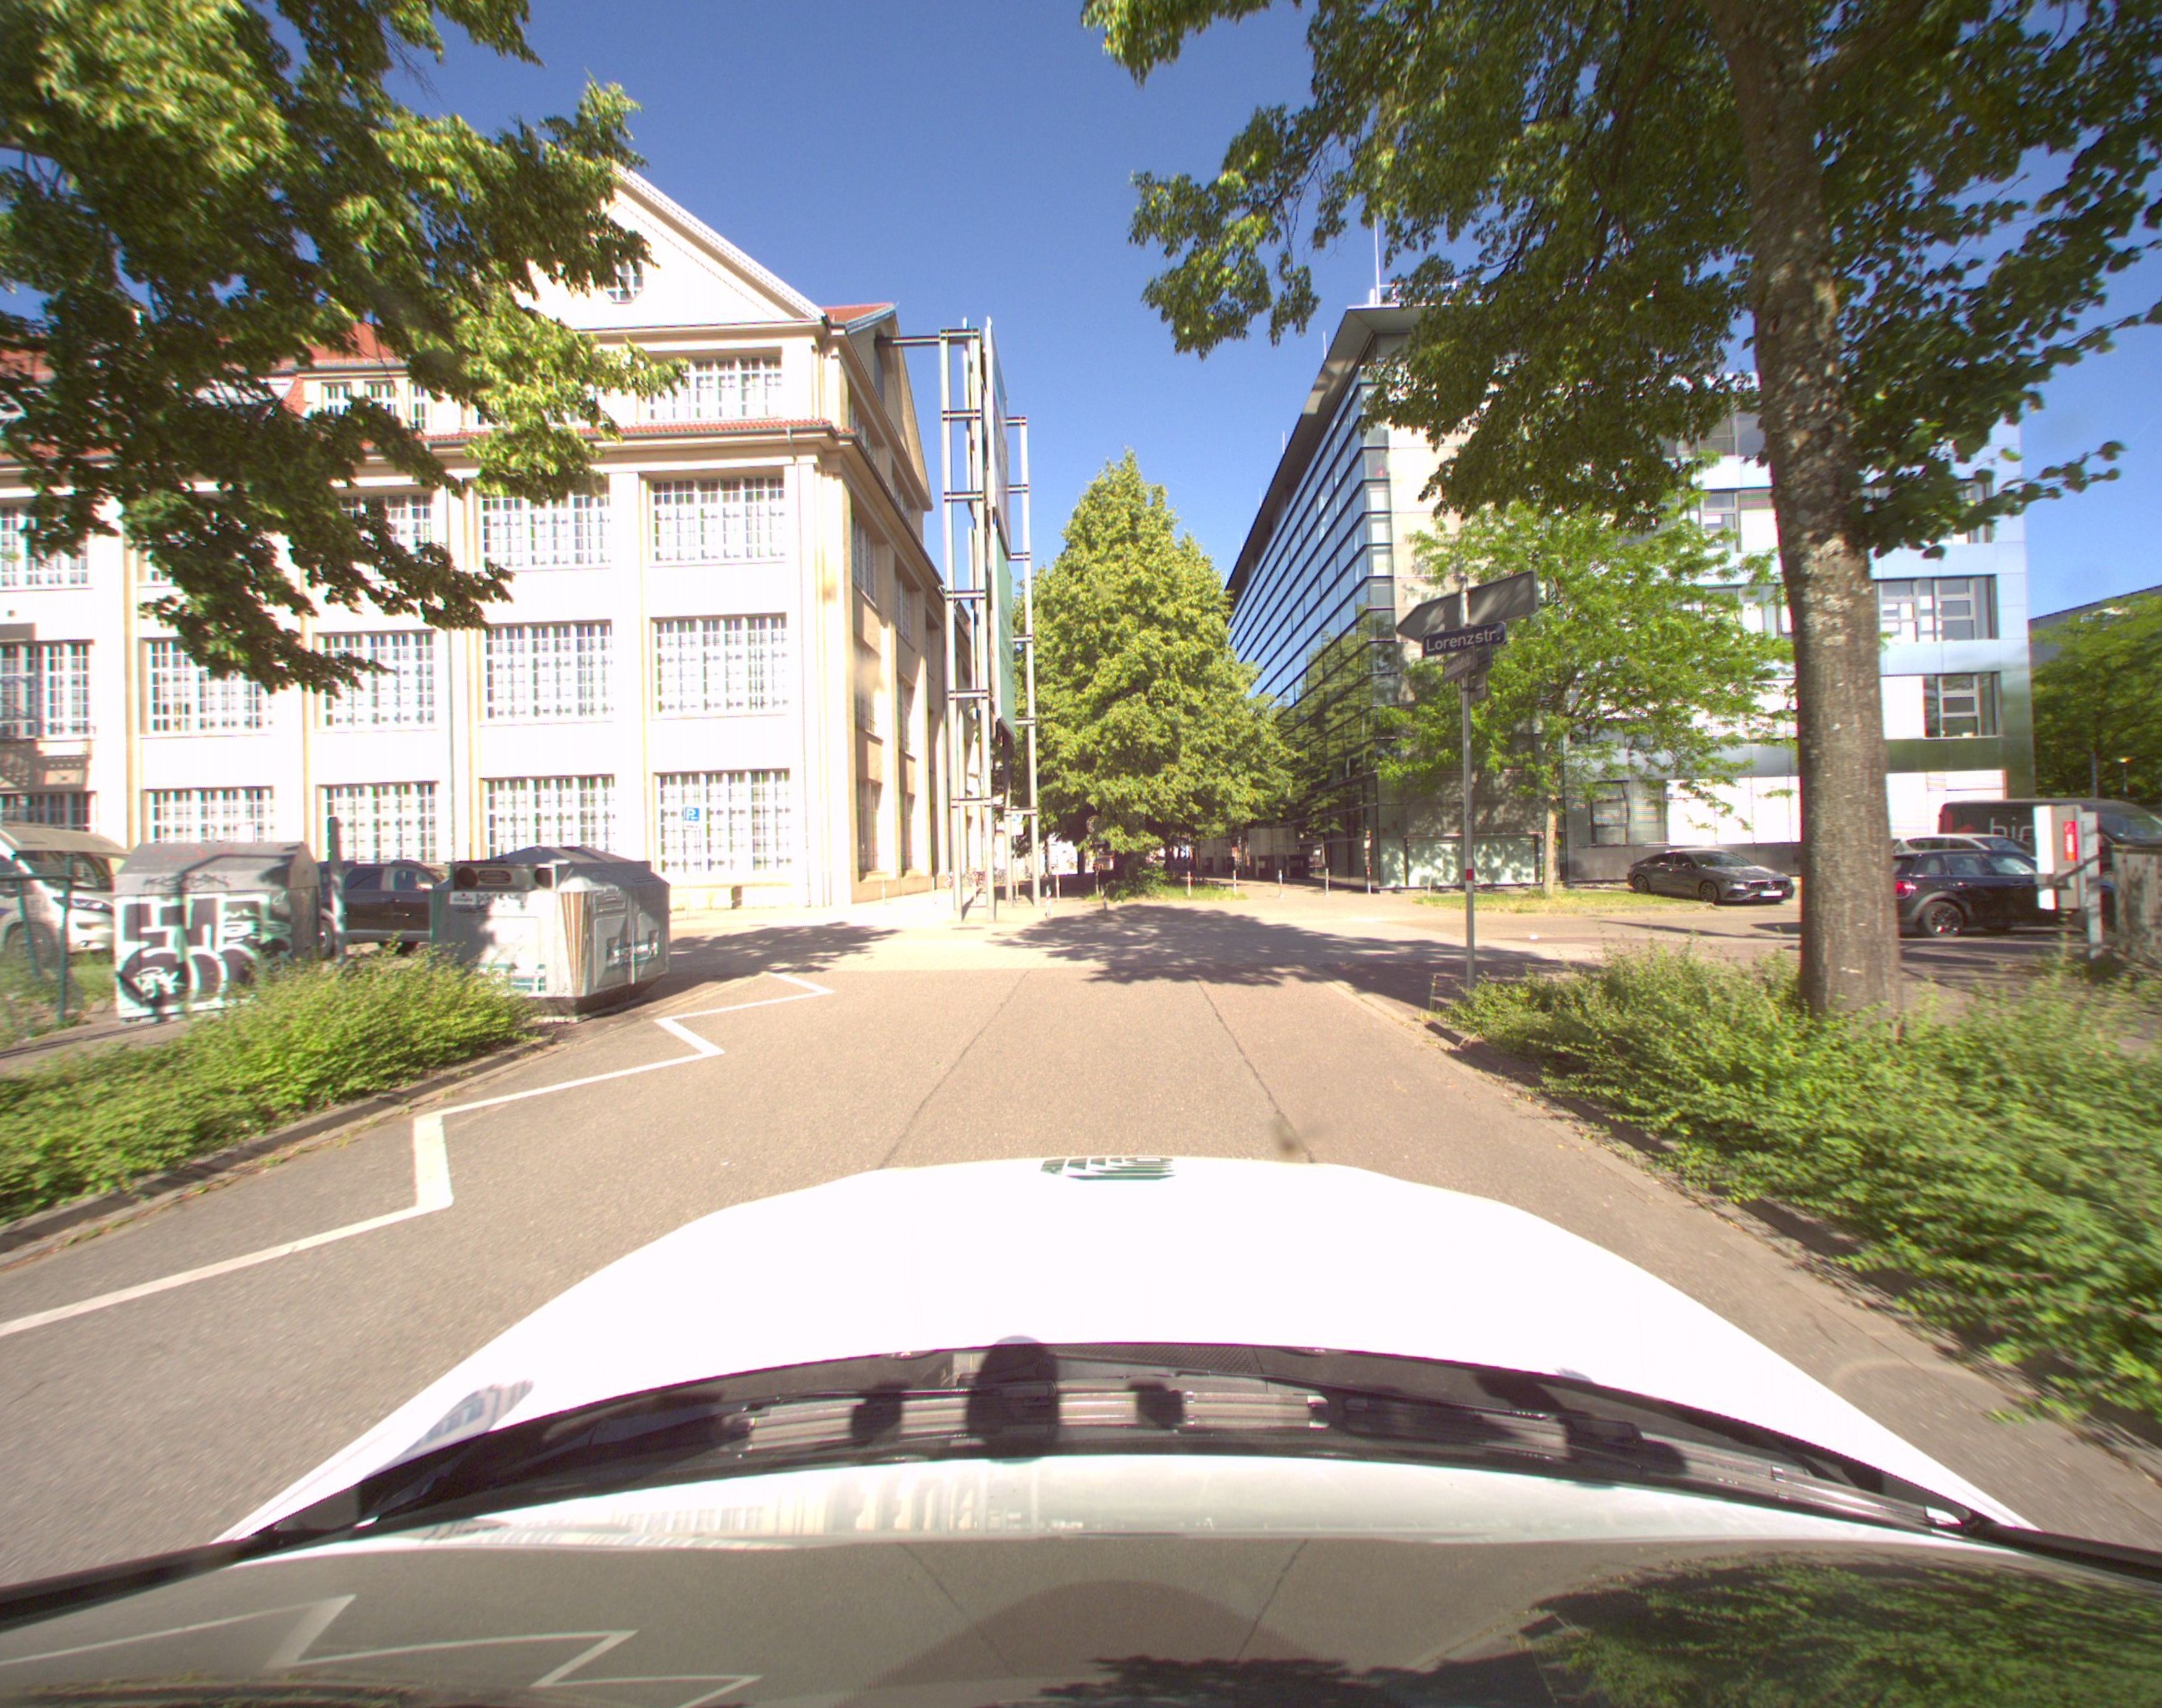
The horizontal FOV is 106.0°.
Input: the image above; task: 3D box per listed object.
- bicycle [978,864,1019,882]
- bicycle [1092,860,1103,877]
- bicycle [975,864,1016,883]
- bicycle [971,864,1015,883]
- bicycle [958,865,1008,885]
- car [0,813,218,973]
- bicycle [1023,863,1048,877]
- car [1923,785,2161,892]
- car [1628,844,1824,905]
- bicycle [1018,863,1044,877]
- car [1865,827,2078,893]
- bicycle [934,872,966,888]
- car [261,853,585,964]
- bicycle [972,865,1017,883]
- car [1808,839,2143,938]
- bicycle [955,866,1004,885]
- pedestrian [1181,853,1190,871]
[{"bbox_3d":[-5.705,1.332,56.283,2.725,1.150,0.718,-1,0,-3],"label":"bicycle"},{"bbox_3d":[1.248,1.079,60.832,0.618,1.197,2.129,-2,0,-3],"label":"bicycle"},{"bbox_3d":[-5.817,1.321,55.496,2.725,1.150,0.718,-1,0,-3],"label":"bicycle"},{"bbox_3d":[-5.831,1.287,54.124,2.794,1.150,0.718,-2,0,-3],"label":"bicycle"},{"bbox_3d":[-5.660,1.225,47.222,2.794,1.063,0.718,-1,0,-3],"label":"bicycle"},{"bbox_3d":[-19.675,0.731,14.566,6.239,2.597,2.166,-2,-1,2],"label":"car"},{"bbox_3d":[-3.765,1.310,67.513,2.049,1.066,0.507,-2,0,3],"label":"bicycle"},{"bbox_3d":[27.402,-0.473,22.765,2.215,2.622,5.477,-2,1,2],"label":"car"},{"bbox_3d":[17.450,0.487,22.366,1.879,1.350,4.552,-2,2,2],"label":"car"},{"bbox_3d":[-4.126,1.342,66.895,2.049,1.066,0.507,-2,0,3],"label":"bicycle"},{"bbox_3d":[24.860,0.091,22.963,1.879,1.645,3.846,-2,2,2],"label":"car"},{"bbox_3d":[-7.071,1.397,44.051,0.773,0.792,2.892,-2,0,10],"label":"bicycle"},{"bbox_3d":[-11.361,0.903,14.284,4.072,1.696,2.002,-2,-1,3],"label":"car"},{"bbox_3d":[-5.463,1.268,51.724,2.794,1.063,0.718,-1,0,-3],"label":"bicycle"},{"bbox_3d":[14.860,0.567,13.691,3.739,1.472,1.657,-2,-2,0],"label":"car"},{"bbox_3d":[-6.060,1.304,48.799,2.790,1.063,0.719,-2,0,1],"label":"bicycle"},{"bbox_3d":[9.230,0.737,72.146,0.712,1.550,0.692,-2,0,8],"label":"pedestrian"}]
